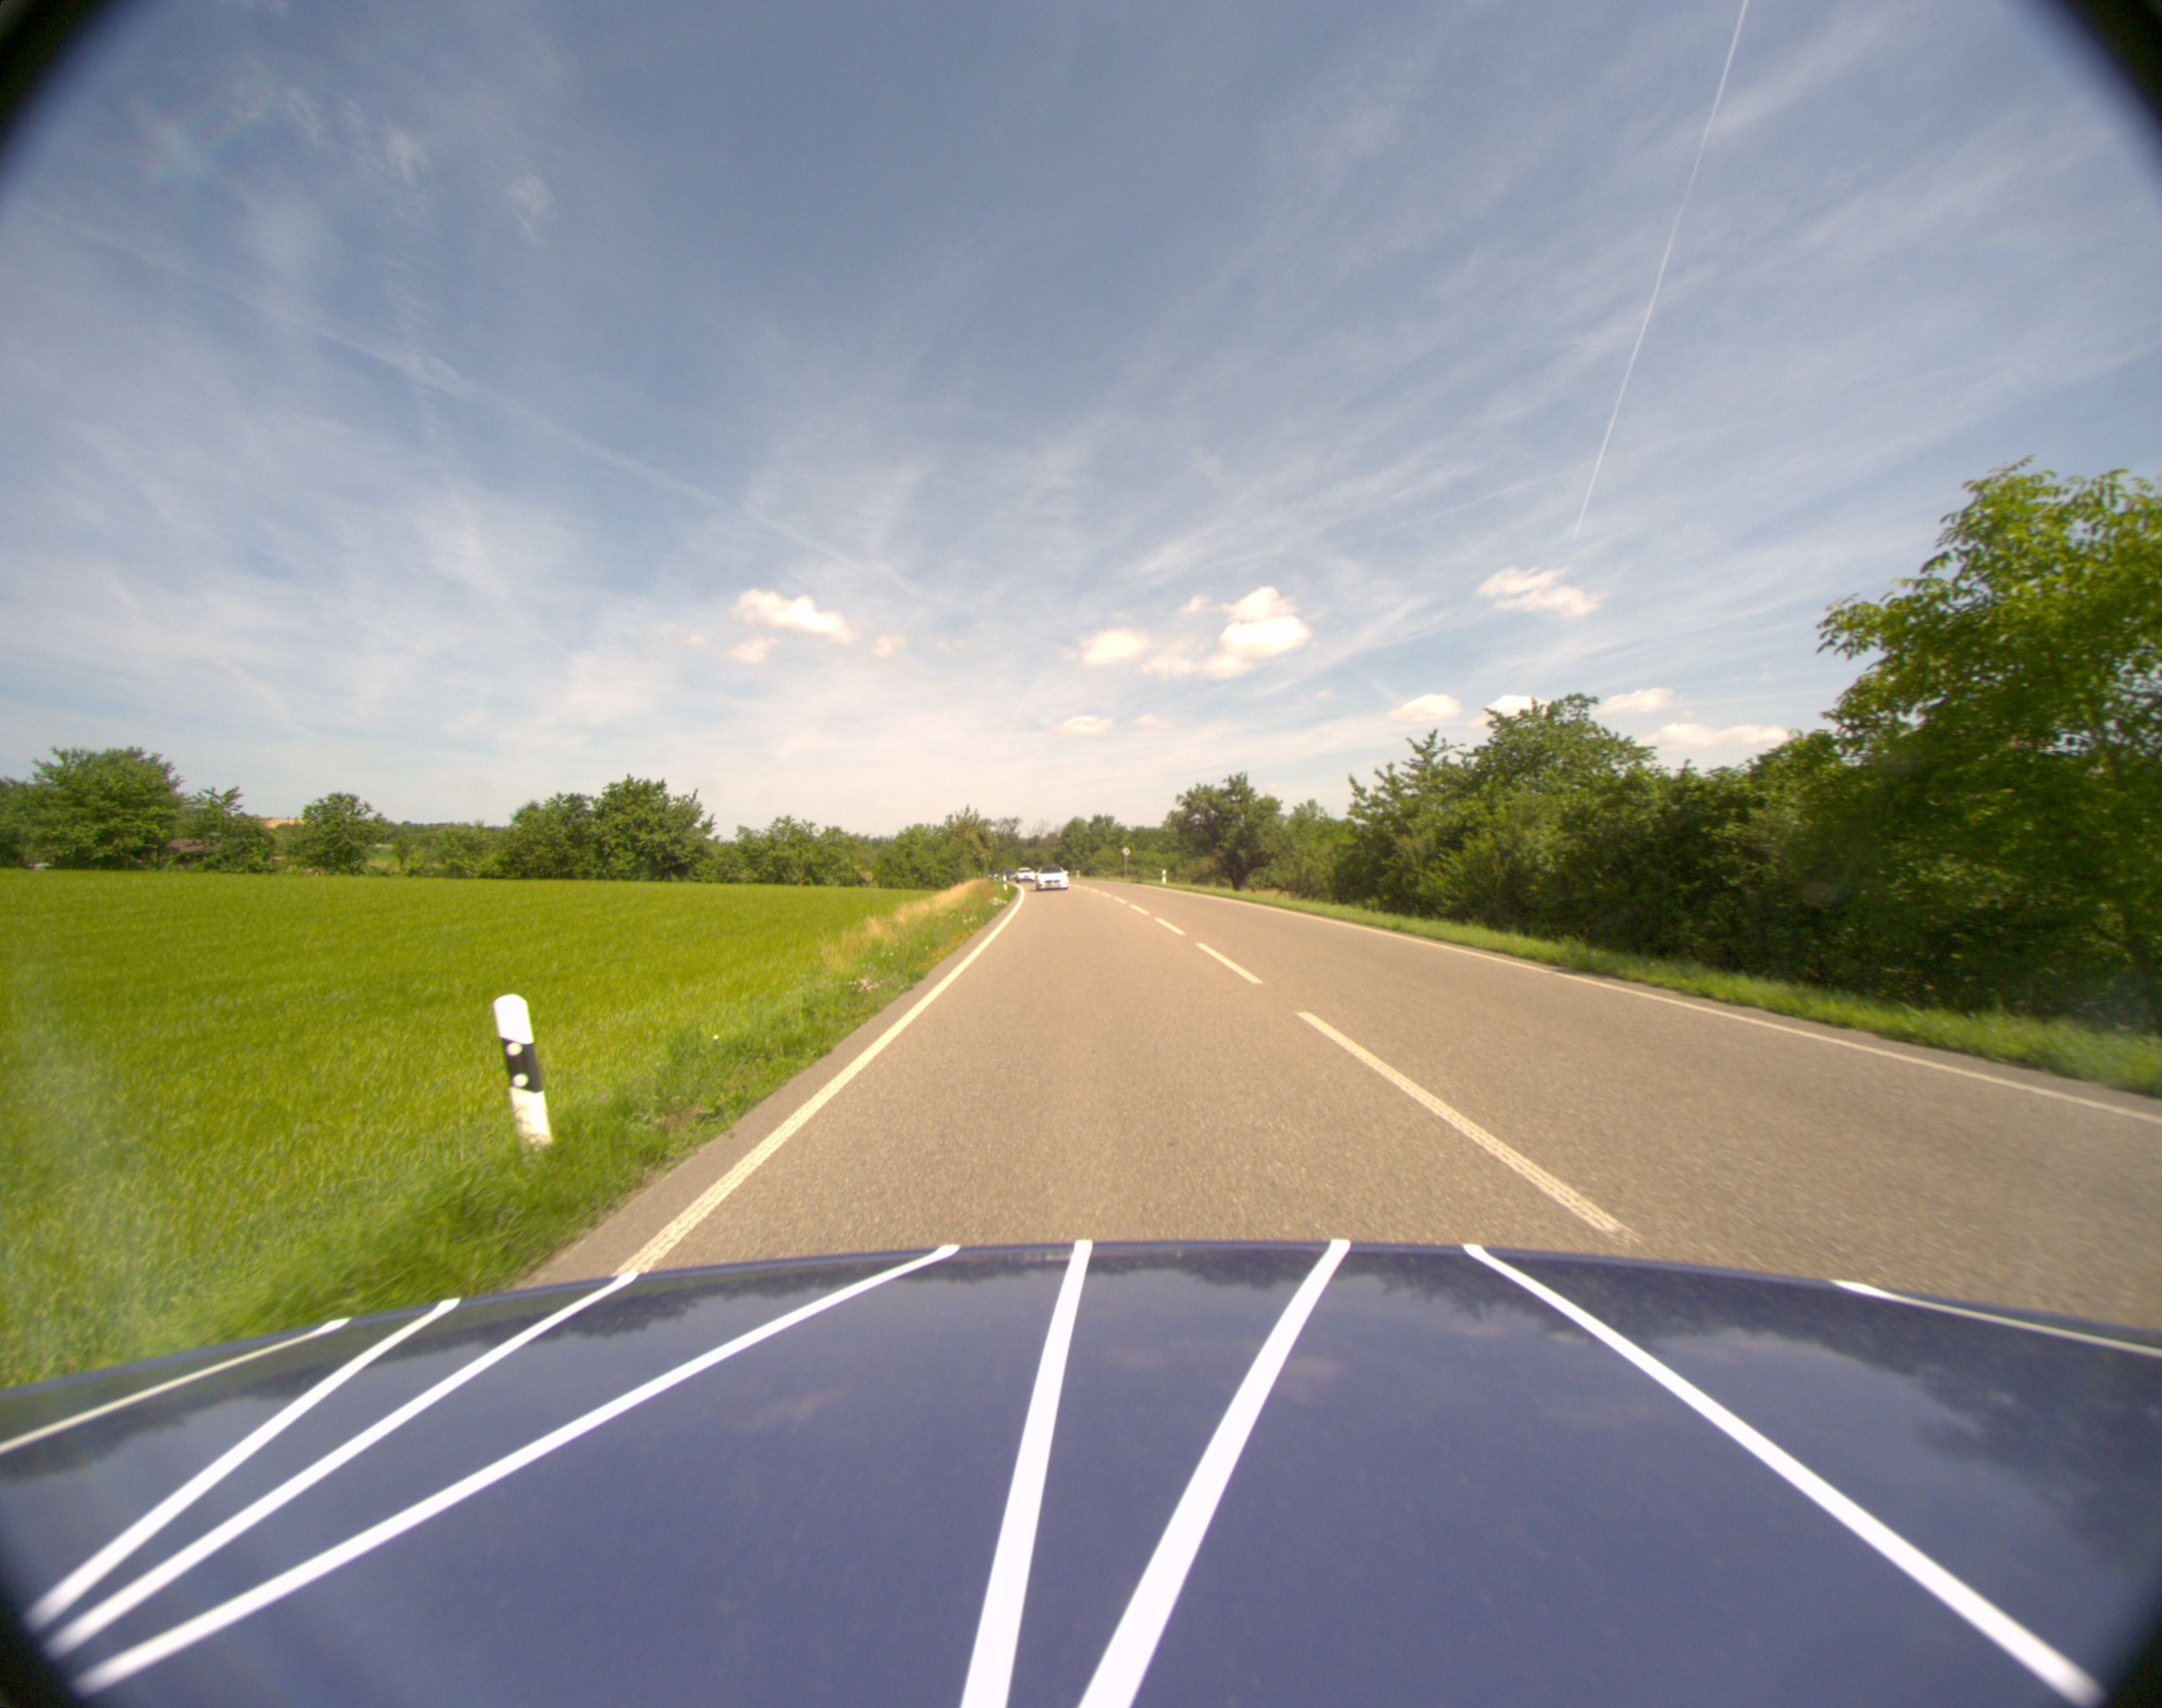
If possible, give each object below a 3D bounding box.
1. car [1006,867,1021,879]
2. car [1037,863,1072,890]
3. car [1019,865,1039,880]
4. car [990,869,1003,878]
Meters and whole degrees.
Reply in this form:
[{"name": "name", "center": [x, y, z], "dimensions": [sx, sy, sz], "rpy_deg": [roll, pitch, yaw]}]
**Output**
[{"name": "car", "center": [-9.159, 2.593, 102.949], "dimensions": [1.930, 1.441, 4.073], "rpy_deg": [0, 0, -7]}, {"name": "car", "center": [-1.647, 1.330, 46.099], "dimensions": [1.929, 1.441, 4.534], "rpy_deg": [-4, 0, -2]}, {"name": "car", "center": [-5.465, 1.915, 79.461], "dimensions": [1.930, 1.441, 3.998], "rpy_deg": [-3, -1, -6]}, {"name": "car", "center": [-13.719, 3.131, 123.716], "dimensions": [1.930, 1.441, 3.998], "rpy_deg": [0, -2, -8]}]
